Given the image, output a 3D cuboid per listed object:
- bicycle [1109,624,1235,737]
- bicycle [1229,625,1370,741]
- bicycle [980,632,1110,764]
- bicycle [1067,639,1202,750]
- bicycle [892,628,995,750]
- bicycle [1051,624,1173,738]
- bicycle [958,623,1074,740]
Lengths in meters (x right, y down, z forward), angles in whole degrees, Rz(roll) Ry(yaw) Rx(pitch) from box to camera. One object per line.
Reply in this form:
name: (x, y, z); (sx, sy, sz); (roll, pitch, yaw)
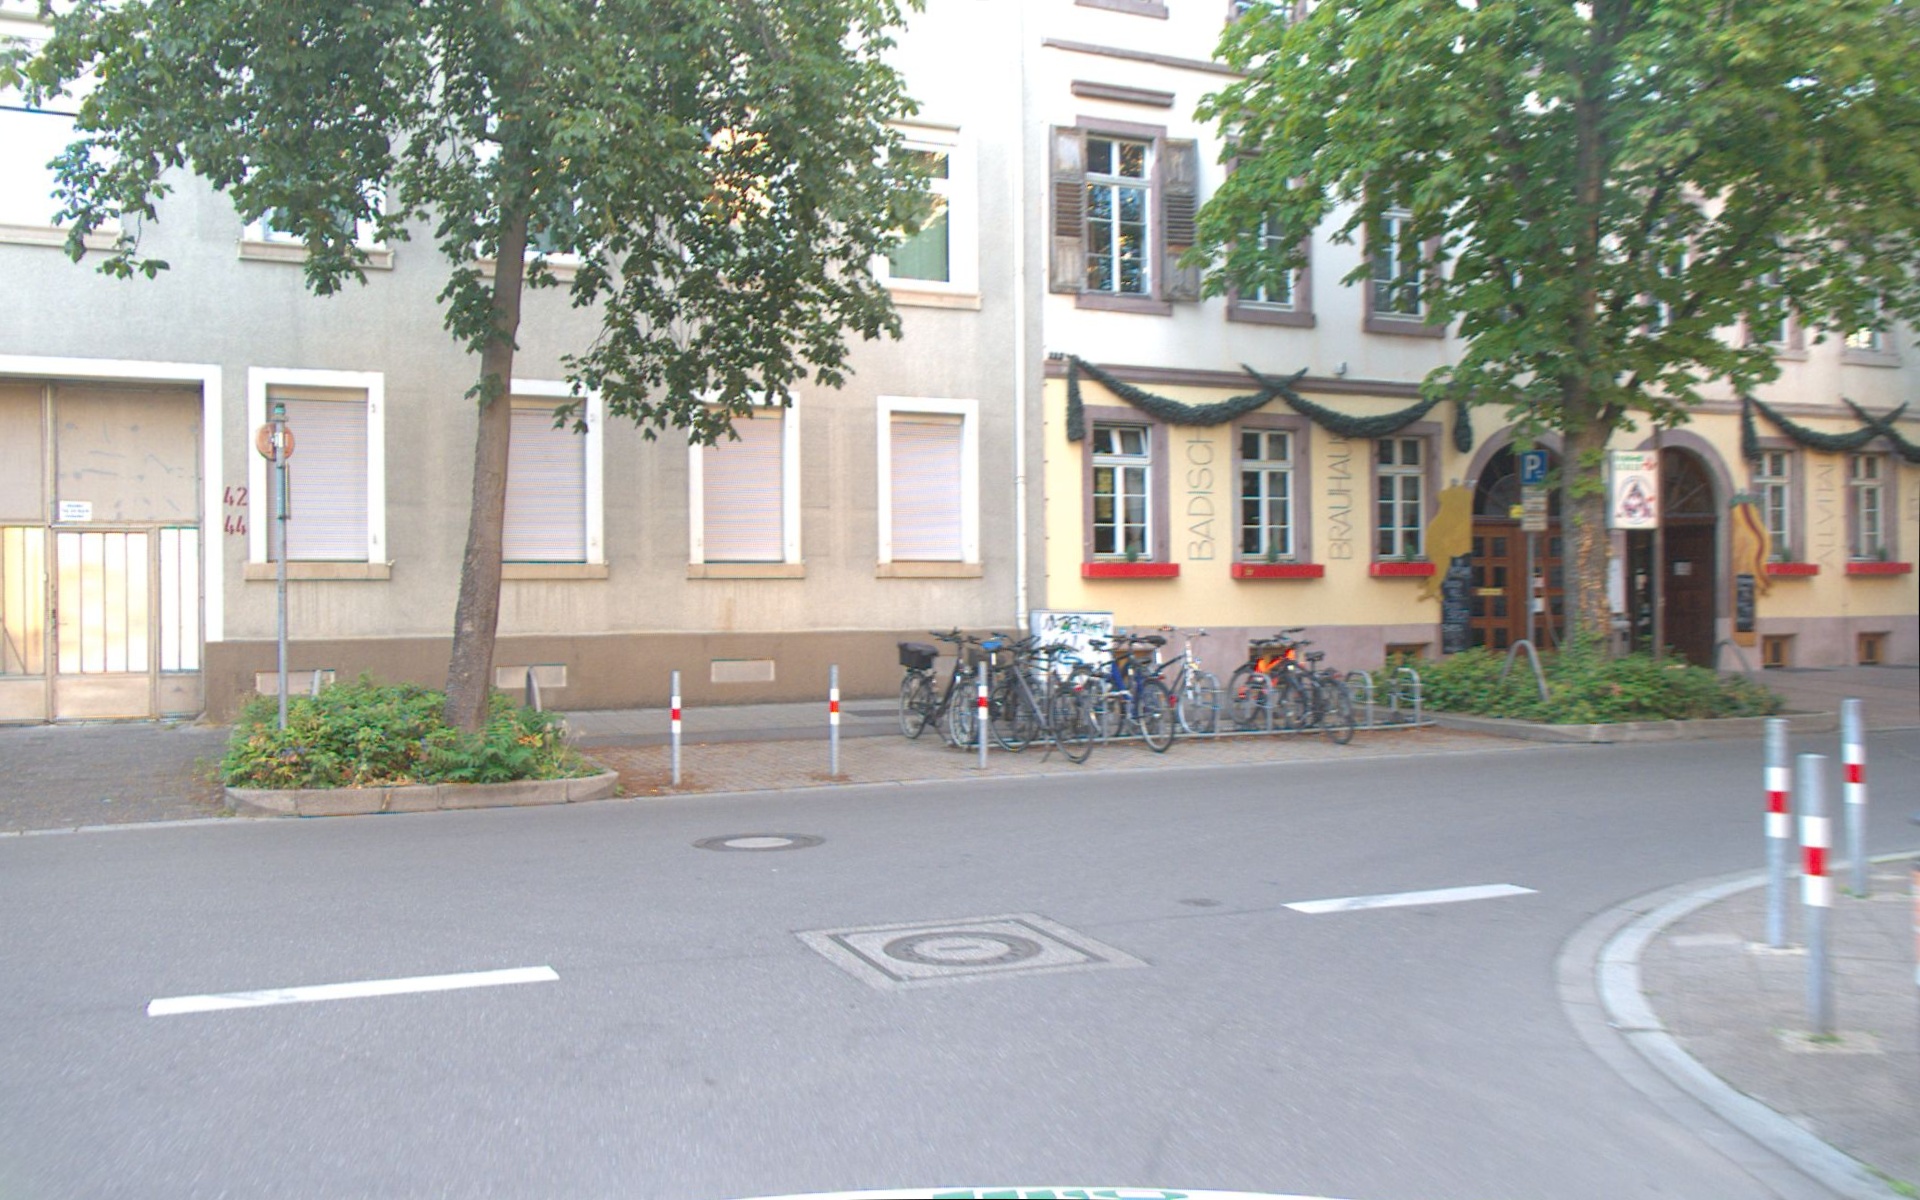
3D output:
bicycle: (2.353, 0.872, 18.632); (0.414, 1.165, 2.027); (-1, 0, -24)
bicycle: (3.690, 0.872, 18.140); (0.414, 1.165, 2.027); (-1, 0, -24)
bicycle: (0.799, 0.912, 16.149); (0.439, 1.165, 2.028); (-1, 0, -22)
bicycle: (1.759, 0.940, 16.999); (0.414, 1.021, 2.027); (-1, 0, -24)
bicycle: (-0.206, 0.899, 17.440); (0.438, 1.165, 2.030); (-1, 0, -20)
bicycle: (1.664, 0.867, 18.412); (0.414, 1.165, 2.027); (-1, 0, -24)
bicycle: (0.575, 0.845, 17.866); (0.414, 1.165, 2.027); (-1, 0, -24)
